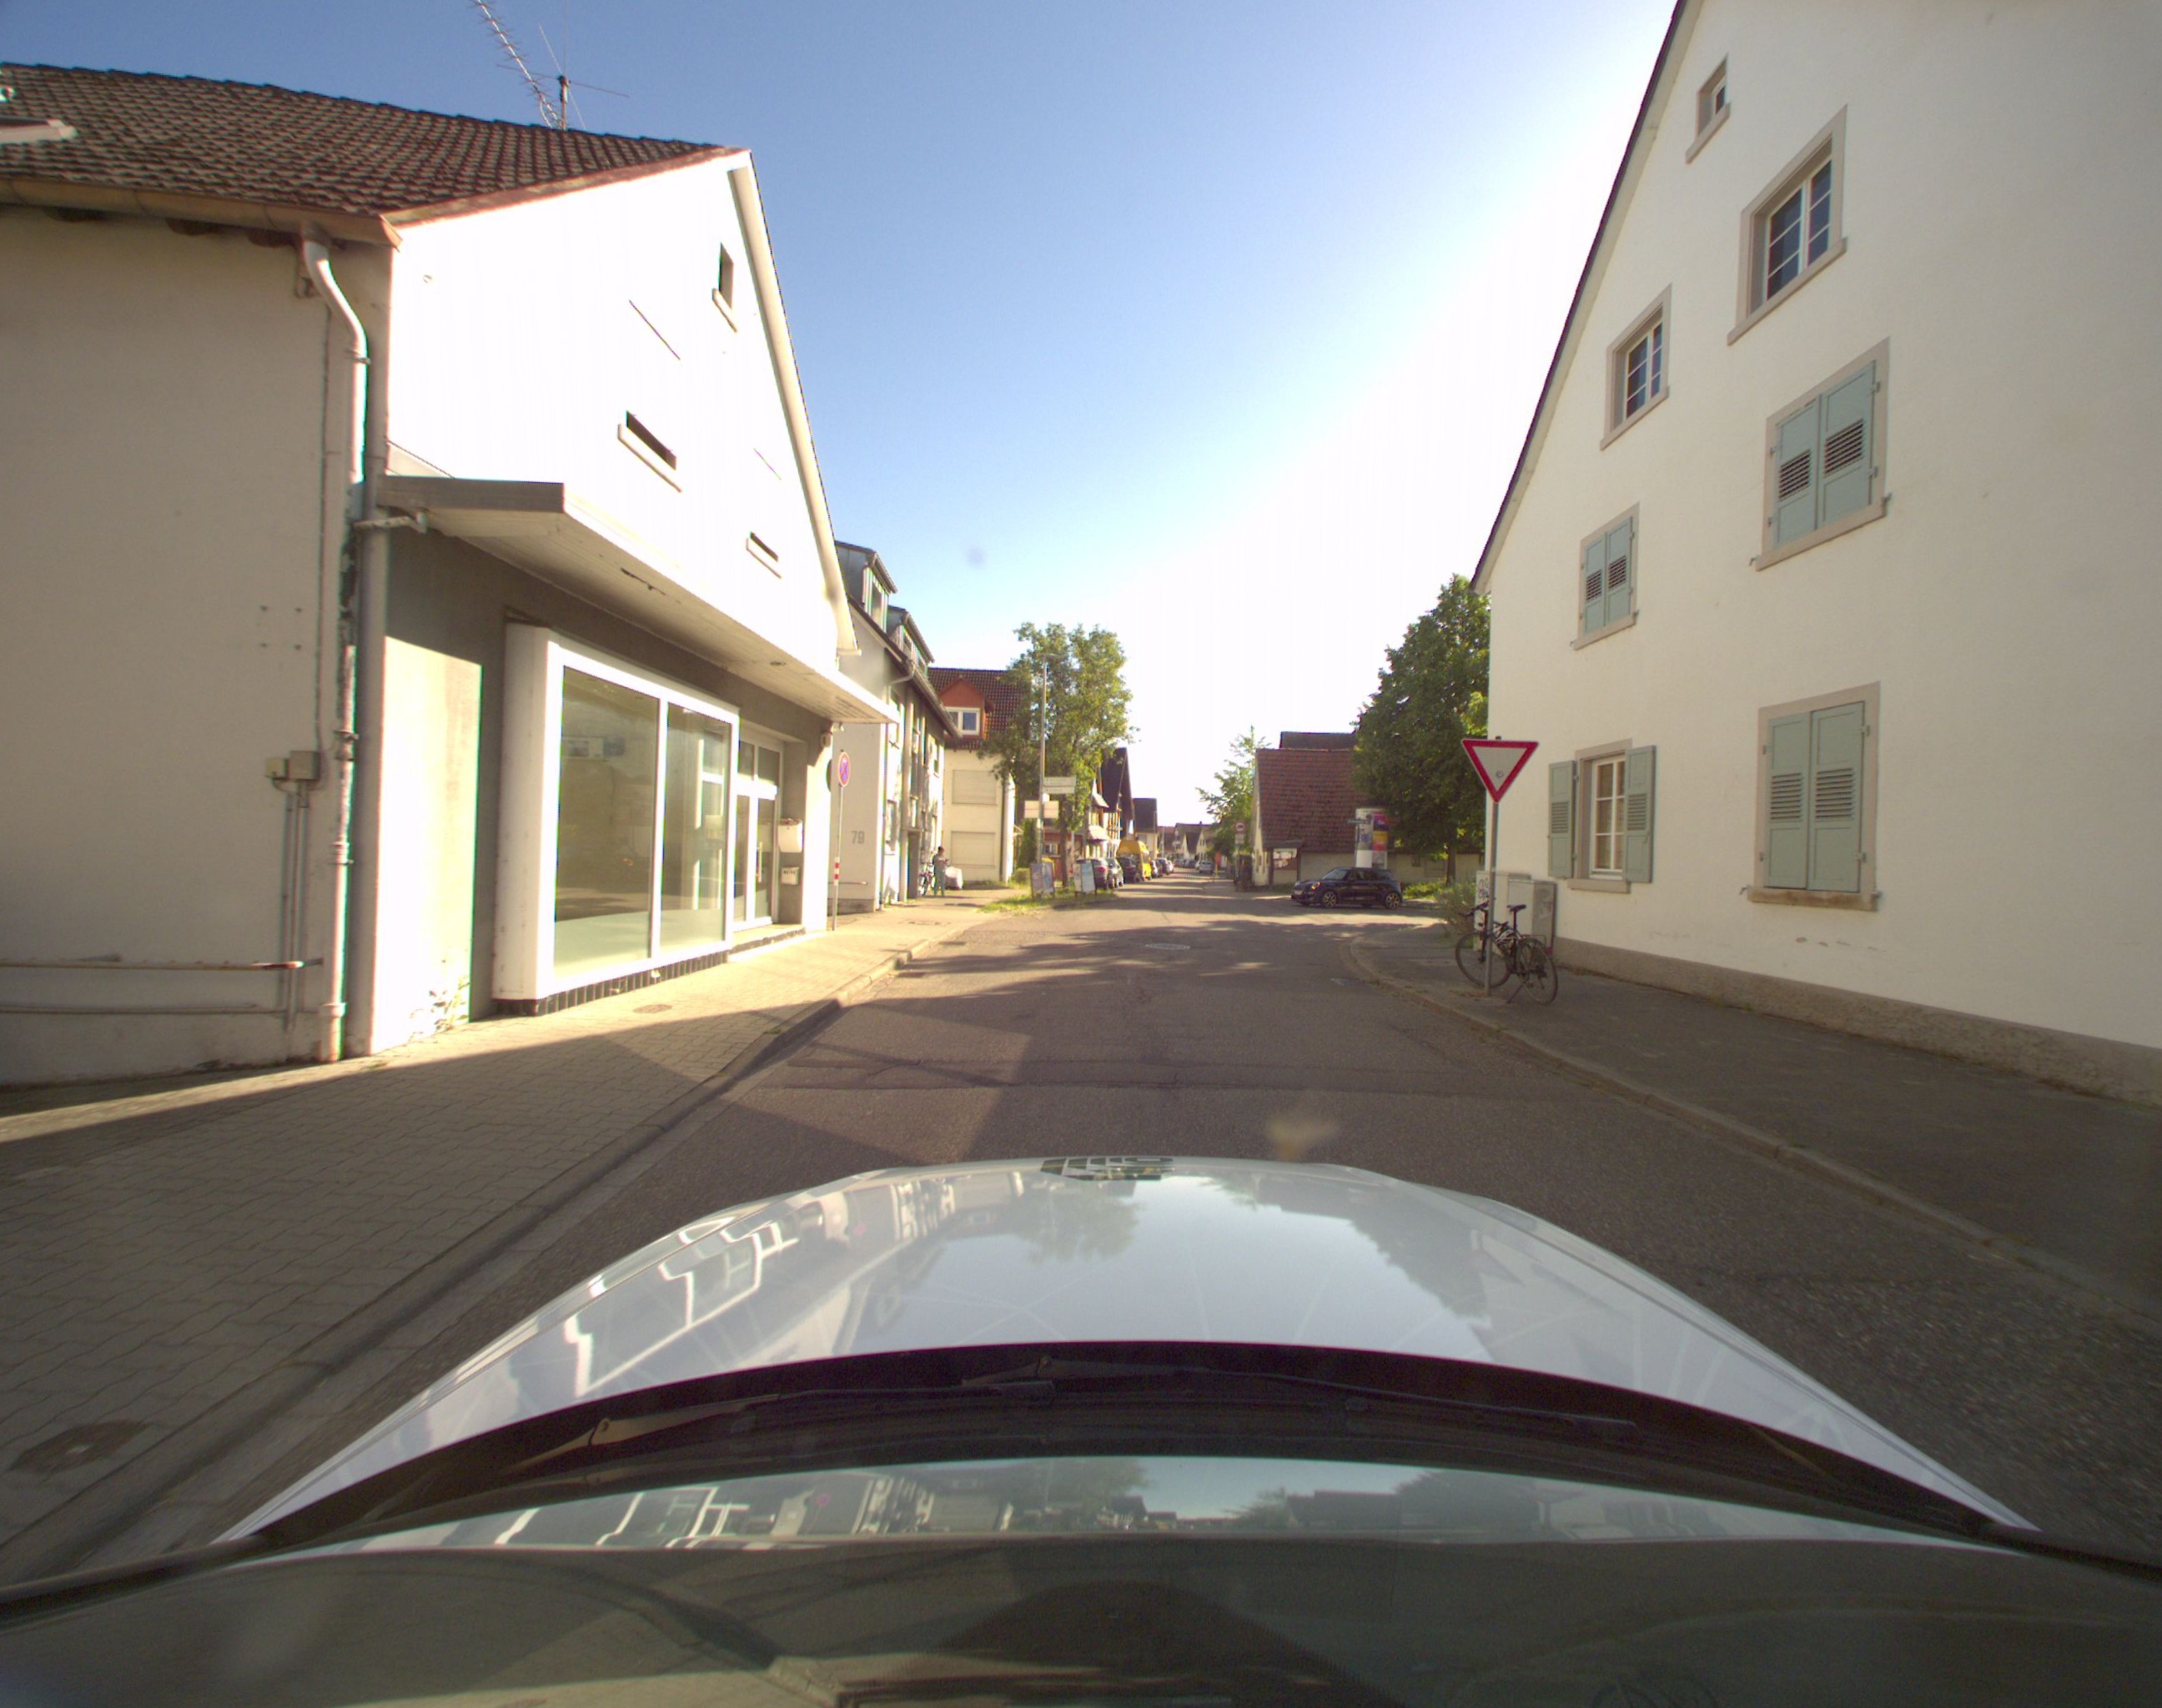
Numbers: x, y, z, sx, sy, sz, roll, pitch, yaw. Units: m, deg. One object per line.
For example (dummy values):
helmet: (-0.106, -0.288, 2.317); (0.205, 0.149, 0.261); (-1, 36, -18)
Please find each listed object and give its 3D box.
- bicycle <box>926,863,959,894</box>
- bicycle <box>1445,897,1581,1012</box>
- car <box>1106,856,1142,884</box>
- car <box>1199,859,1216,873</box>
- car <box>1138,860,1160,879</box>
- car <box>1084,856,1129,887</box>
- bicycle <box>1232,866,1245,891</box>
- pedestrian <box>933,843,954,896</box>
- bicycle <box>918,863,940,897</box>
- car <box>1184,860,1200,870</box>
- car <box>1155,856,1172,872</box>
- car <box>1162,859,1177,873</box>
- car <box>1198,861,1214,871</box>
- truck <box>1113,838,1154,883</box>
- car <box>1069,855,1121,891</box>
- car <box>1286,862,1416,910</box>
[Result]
bicycle: (-5.000, 0.880, 29.559); (0.575, 1.052, 2.040); (1, -1, 7)
bicycle: (4.864, 1.079, 9.305); (0.434, 1.080, 1.887); (1, 0, -4)
car: (2.768, 0.989, 51.350); (1.796, 1.622, 3.890); (2, -1, 9)
car: (15.899, 1.471, 102.593); (1.963, 1.714, 4.001); (2, 0, 6)
car: (5.525, 1.213, 65.748); (1.637, 1.433, 3.620); (2, 0, 6)
car: (1.384, 0.913, 42.501); (1.796, 1.506, 4.117); (2, -1, 9)
bicycle: (7.603, 1.172, 39.248); (0.430, 1.176, 1.836); (1, 0, 16)
pedestrian: (-4.430, 0.504, 26.314); (0.481, 1.693, 0.557); (2, -2, 4)
bicycle: (-4.865, 0.839, 26.146); (0.422, 1.052, 1.381); (1, -1, 1)
car: (19.832, 1.949, 145.225); (1.970, 1.583, 3.987); (2, 0, -5)
car: (7.970, 0.967, 78.863); (1.580, 1.443, 3.620); (2, 0, 6)
car: (9.809, 1.352, 90.671); (1.580, 1.443, 3.620); (2, 0, 6)
car: (20.492, 1.989, 133.676); (1.966, 1.583, 3.996); (2, 0, 2)
truck: (3.709, 0.476, 56.798); (2.255, 2.868, 5.796); (2, -1, 9)
car: (0.713, 0.872, 38.149); (1.856, 1.506, 4.117); (2, -1, 9)
car: (9.421, 1.109, 28.510); (3.990, 1.477, 1.659); (2, 0, -12)
